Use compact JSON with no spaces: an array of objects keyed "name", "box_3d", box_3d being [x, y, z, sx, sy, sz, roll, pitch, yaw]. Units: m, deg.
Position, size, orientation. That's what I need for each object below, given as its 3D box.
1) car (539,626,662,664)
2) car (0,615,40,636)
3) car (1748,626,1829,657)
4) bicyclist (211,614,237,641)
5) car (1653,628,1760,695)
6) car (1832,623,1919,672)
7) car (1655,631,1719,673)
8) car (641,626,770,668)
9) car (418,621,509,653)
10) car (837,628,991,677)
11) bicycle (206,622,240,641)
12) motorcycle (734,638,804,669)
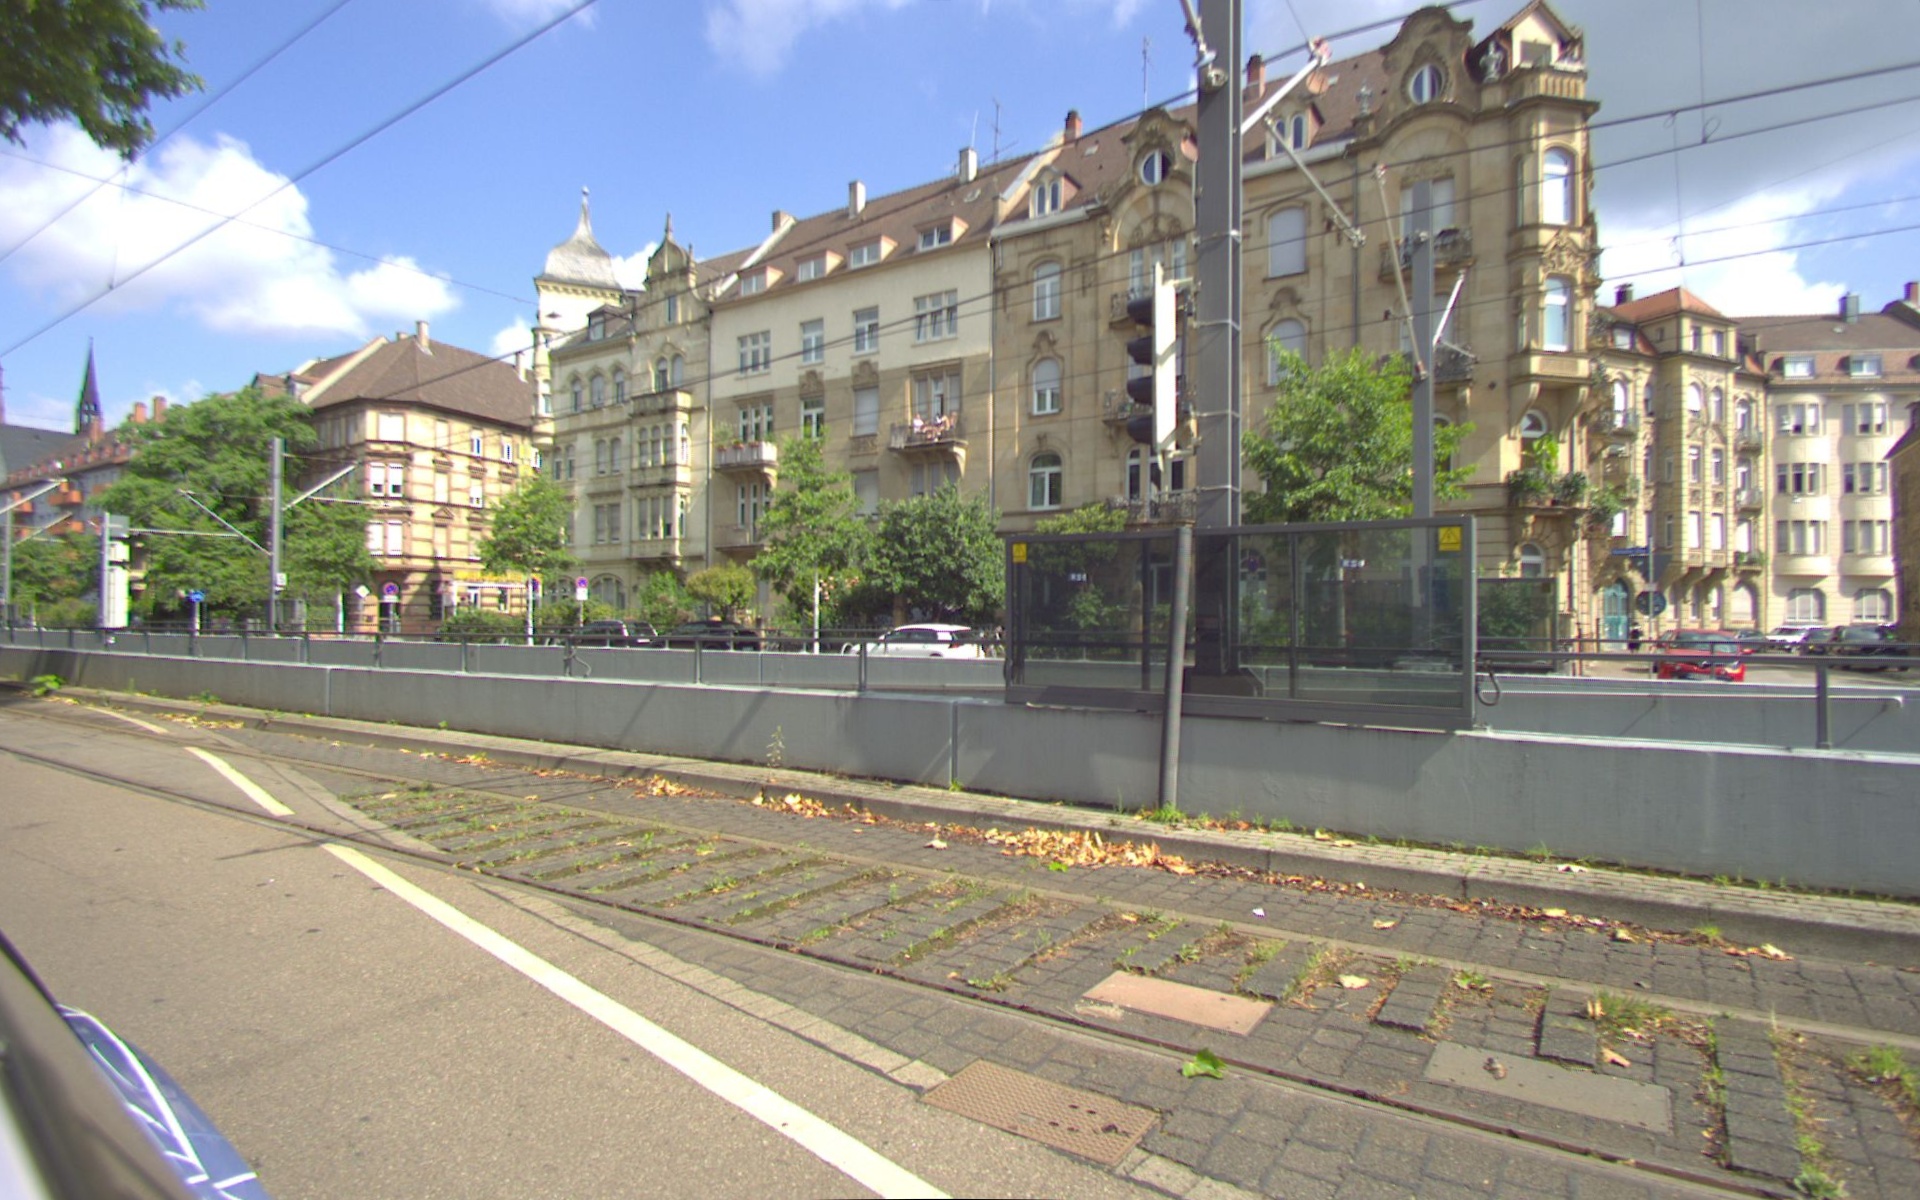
[{"name":"car","box_3d":[-13.372,1.620,37.551,4.714,1.337,1.932,-1,-2,35]},{"name":"car","box_3d":[-75.178,2.058,80.560,4.103,1.650,1.977,-1,-2,34]},{"name":"car","box_3d":[46.966,2.329,57.400,3.727,1.683,1.939,1,-2,-21]},{"name":"bicyclist","box_3d":[-38.760,1.453,53.296,1.046,1.348,0.761,-1,-4,35]},{"name":"car","box_3d":[18.049,1.421,24.483,1.930,1.475,3.745,-1,-2,37]},{"name":"car","box_3d":[33.393,1.684,36.833,1.927,1.683,3.750,-1,-2,33]},{"name":"car","box_3d":[24.073,1.687,33.589,1.498,1.323,3.204,-1,-2,32]},{"name":"car","box_3d":[-8.691,1.563,34.511,4.087,1.337,2.004,-1,-2,32]},{"name":"car","box_3d":[-26.226,1.920,53.550,2.025,1.618,3.928,-1,-1,25]},{"name":"car","box_3d":[-1.371,1.485,29.536,4.299,1.338,1.738,-1,-2,33]},{"name":"bicycle","box_3d":[-38.875,1.664,53.370,2.136,0.986,0.769,-1,-4,35]},{"name":"motorcycle","box_3d":[-6.177,1.735,32.853,1.413,0.949,1.746,-1,-3,33]}]
